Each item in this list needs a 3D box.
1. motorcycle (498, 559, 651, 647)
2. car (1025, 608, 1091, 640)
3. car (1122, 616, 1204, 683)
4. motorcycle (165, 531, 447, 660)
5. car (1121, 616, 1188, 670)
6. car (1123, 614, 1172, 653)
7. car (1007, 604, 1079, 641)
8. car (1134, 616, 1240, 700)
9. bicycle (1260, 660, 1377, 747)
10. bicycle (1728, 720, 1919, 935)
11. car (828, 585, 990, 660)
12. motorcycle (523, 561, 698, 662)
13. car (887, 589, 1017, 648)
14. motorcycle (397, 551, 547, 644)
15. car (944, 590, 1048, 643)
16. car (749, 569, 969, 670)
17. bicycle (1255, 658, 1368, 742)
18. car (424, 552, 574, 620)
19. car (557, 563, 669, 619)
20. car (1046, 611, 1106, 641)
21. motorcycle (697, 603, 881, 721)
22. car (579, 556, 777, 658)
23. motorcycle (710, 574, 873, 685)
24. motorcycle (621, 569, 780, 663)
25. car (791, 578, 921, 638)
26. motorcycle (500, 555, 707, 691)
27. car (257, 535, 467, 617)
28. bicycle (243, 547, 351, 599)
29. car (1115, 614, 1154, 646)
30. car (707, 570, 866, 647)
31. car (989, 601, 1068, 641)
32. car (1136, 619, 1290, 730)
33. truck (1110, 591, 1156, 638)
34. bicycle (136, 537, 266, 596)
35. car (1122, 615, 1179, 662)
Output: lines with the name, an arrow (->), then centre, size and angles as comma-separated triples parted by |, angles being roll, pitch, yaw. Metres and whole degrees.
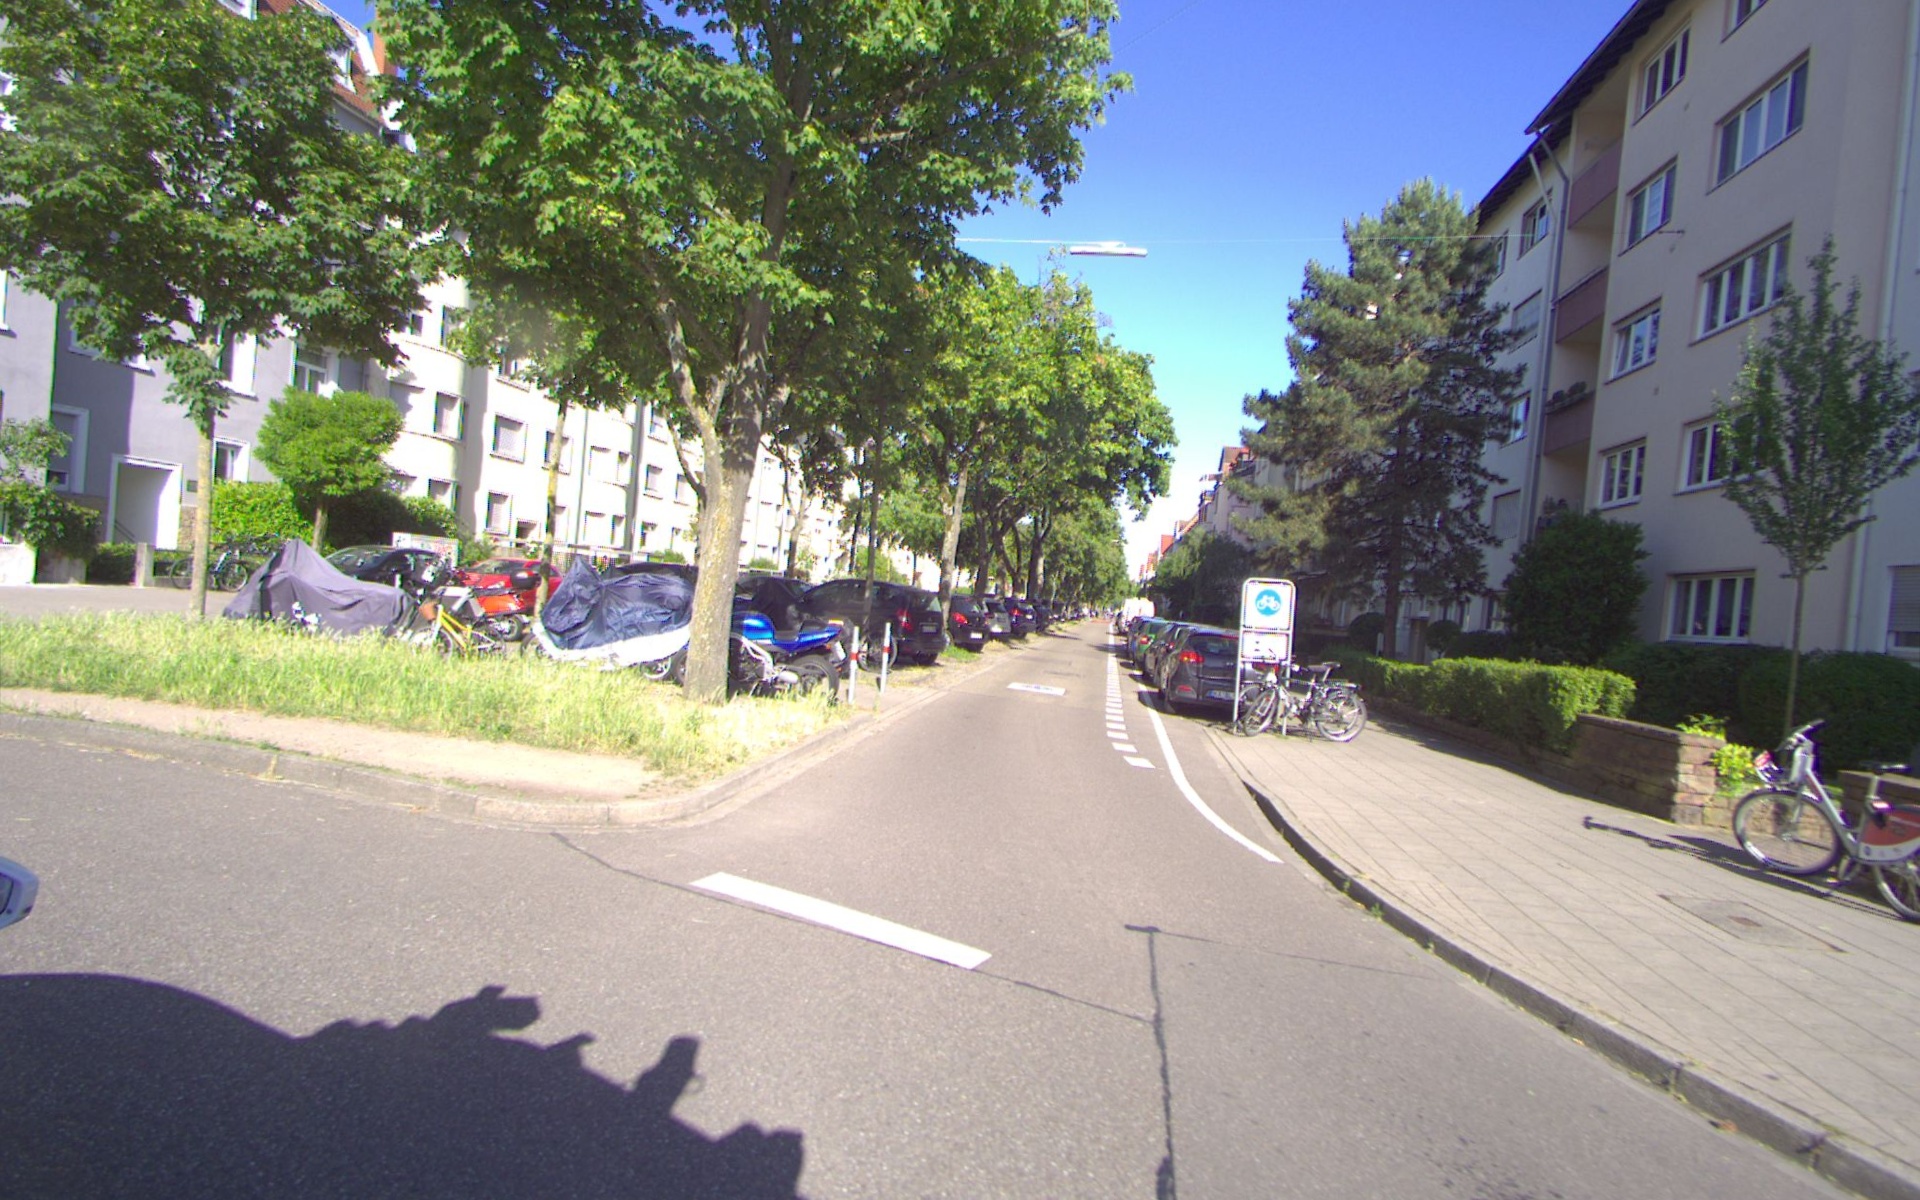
motorcycle -> -6.756, 0.051, 17.688 | 2.199, 1.284, 1.052 | 5, 1, 8
car -> 6.402, 1.560, 66.030 | 1.872, 1.746, 3.954 | 5, 1, -41
car -> 5.795, 1.362, 29.090 | 1.751, 1.524, 4.000 | 8, 1, 6
motorcycle -> -8.063, -0.053, 12.500 | 2.731, 1.284, 1.127 | 5, 1, 3
car -> 6.626, 1.431, 34.608 | 1.751, 1.504, 4.000 | 6, 1, 6
car -> 8.662, 1.508, 46.742 | 1.751, 1.504, 4.000 | 6, 1, 6
car -> 4.838, 1.292, 59.088 | 1.872, 1.746, 3.954 | 5, 1, -41
car -> 5.081, 1.247, 22.974 | 1.751, 1.504, 4.000 | 6, 1, 6
bicycle -> 4.906, 1.411, 13.808 | 1.422, 1.070, 0.330 | 3, 1, 7
bicycle -> 5.920, 1.446, 6.694 | 0.377, 1.092, 1.625 | 3, 0, 3
car -> -1.398, 0.607, 27.365 | 3.935, 1.618, 1.874 | 5, 0, 32
motorcycle -> -5.326, 0.170, 15.412 | 2.199, 1.284, 1.052 | 5, 1, 8
car -> -0.285, 0.607, 33.868 | 3.933, 1.568, 1.777 | 6, 1, 31
motorcycle -> -7.622, -0.035, 15.755 | 1.858, 1.252, 0.889 | 5, 1, 8
car -> 1.392, 0.643, 40.389 | 1.872, 1.746, 3.954 | 5, 1, -41
car -> -2.066, 0.386, 20.598 | 3.930, 1.618, 1.997 | 6, 0, 27
bicycle -> 4.969, 1.411, 14.278 | 1.422, 1.070, 0.330 | 3, 1, 7
car -> -11.823, -0.335, 26.098 | 1.720, 1.463, 3.854 | 6, 0, 6
car -> -10.814, -0.255, 31.628 | 1.720, 1.463, 3.854 | 6, 0, 6
car -> 8.350, 1.864, 72.378 | 1.872, 1.746, 3.954 | 5, 1, -41
motorcycle -> -1.938, 0.680, 11.519 | 1.810, 1.086, 0.814 | 7, 1, 9
car -> -5.717, 0.124, 20.225 | 3.818, 1.661, 1.796 | 6, 1, 37
motorcycle -> -2.500, 0.428, 15.110 | 2.086, 1.410, 1.063 | 5, 1, 7
motorcycle -> -4.216, 0.259, 16.448 | 2.199, 1.284, 1.052 | 5, 1, 8
car -> -3.478, 0.259, 33.481 | 3.936, 1.611, 1.880 | 6, 1, 34
motorcycle -> -4.141, 0.261, 11.787 | 2.015, 1.345, 0.863 | 5, 1, 5
car -> -12.444, -0.447, 21.269 | 1.719, 1.463, 3.956 | 4, 0, 6
bicycle -> -15.565, -0.604, 23.693 | 0.669, 1.073, 2.257 | 5, 1, 11
car -> 9.681, 1.624, 56.065 | 1.751, 1.504, 4.000 | 6, 1, 6
car -> -4.596, 0.208, 26.502 | 3.936, 1.611, 1.702 | 6, 1, 34
car -> 3.676, 1.091, 54.235 | 1.872, 1.746, 3.954 | 5, 1, -41
car -> 4.205, 1.177, 17.366 | 1.798, 1.429, 4.000 | 6, 1, 5
truck -> 11.422, 0.937, 66.767 | 2.365, 2.710, 5.906 | 6, 1, 6
bicycle -> -15.885, -0.676, 21.134 | 0.669, 1.073, 2.257 | 5, 1, 11
car -> 7.448, 1.473, 39.685 | 1.751, 1.504, 4.000 | 6, 1, 6
